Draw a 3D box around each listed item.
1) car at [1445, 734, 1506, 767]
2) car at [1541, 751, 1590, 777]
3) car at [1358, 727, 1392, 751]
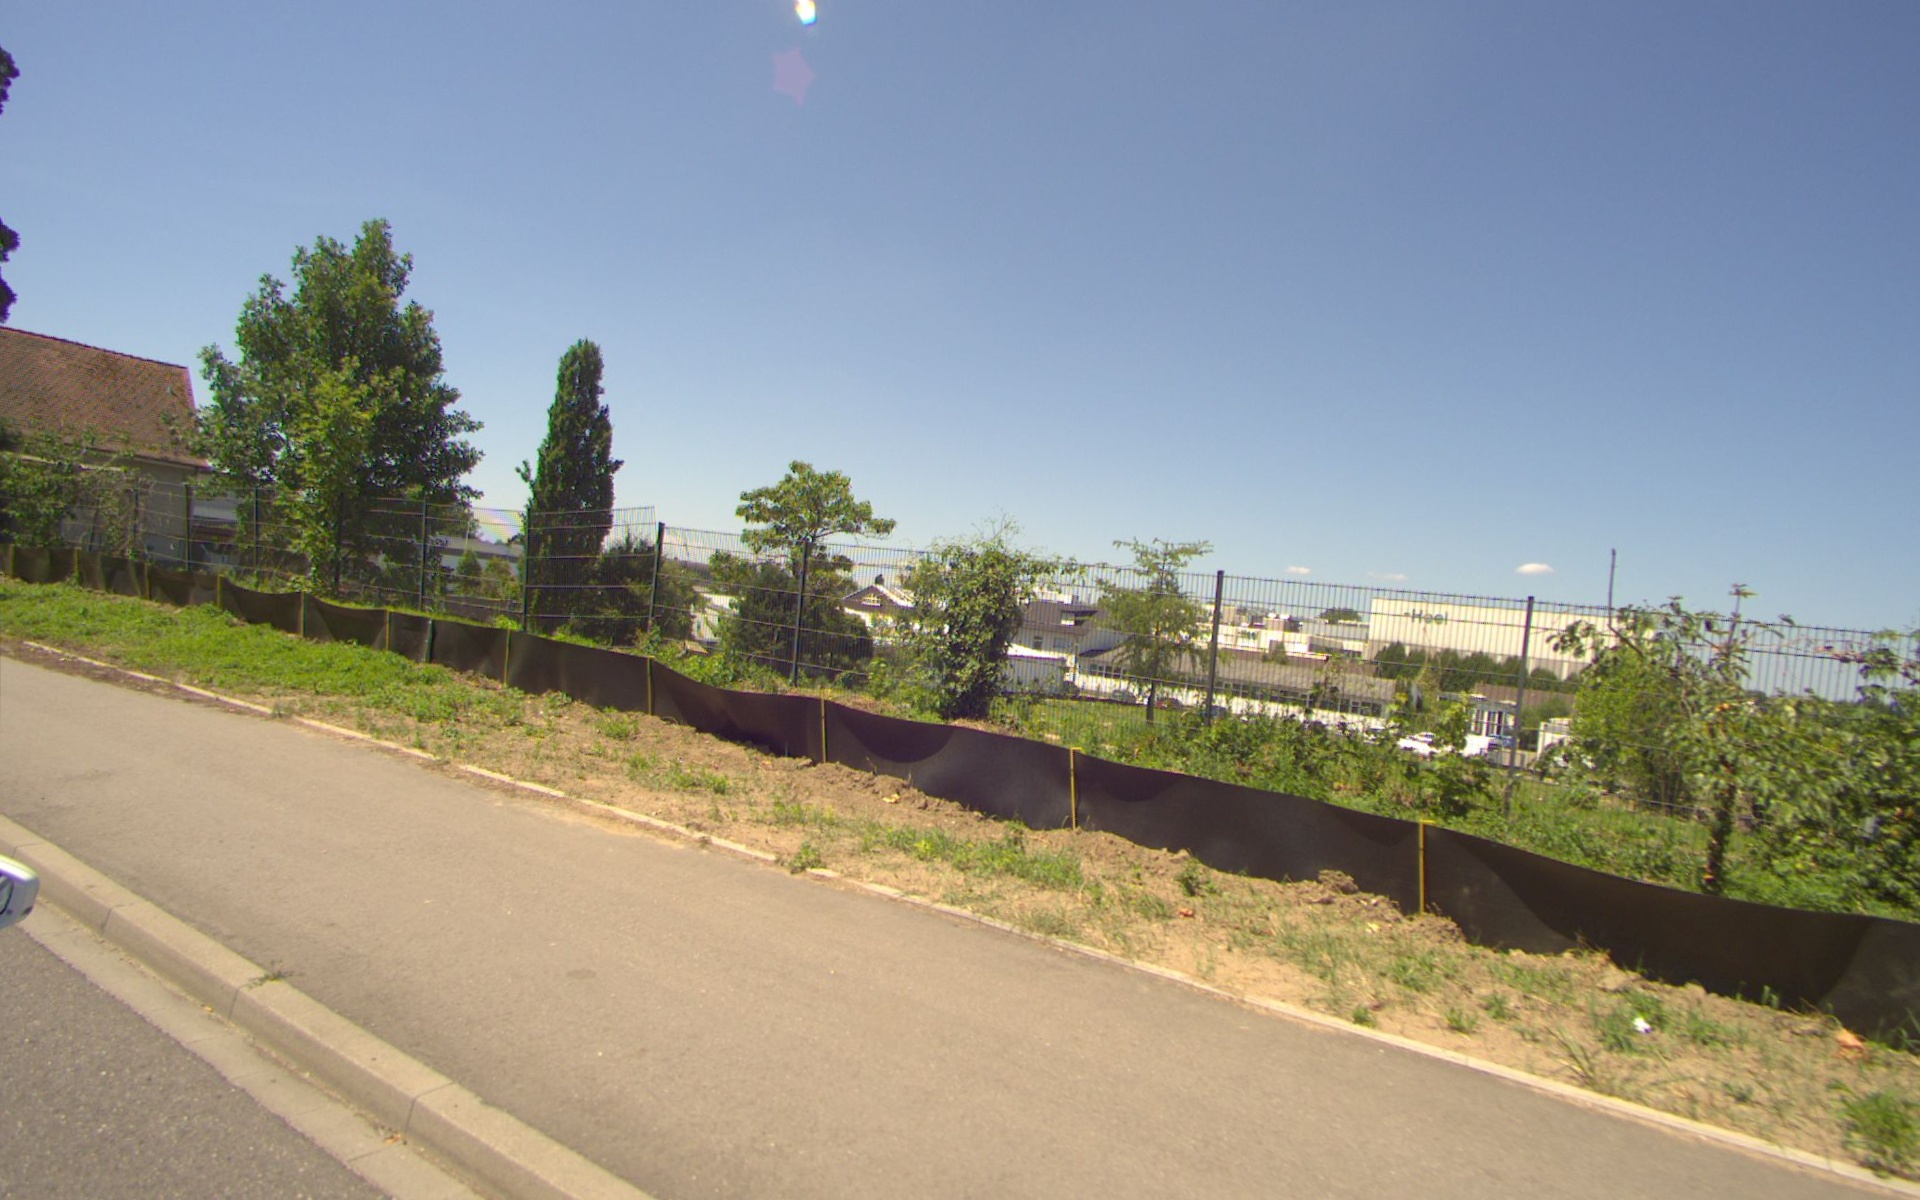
[{"bbox_3d":[44.558,13.024,87.076,1.850,2.037,4.319,9,-2,-23],"label":"car"},{"bbox_3d":[56.338,15.218,93.651,3.785,1.639,1.935,7,-2,32],"label":"car"},{"bbox_3d":[37.784,12.640,91.469,1.968,1.758,3.994,7,-2,33],"label":"car"}]
